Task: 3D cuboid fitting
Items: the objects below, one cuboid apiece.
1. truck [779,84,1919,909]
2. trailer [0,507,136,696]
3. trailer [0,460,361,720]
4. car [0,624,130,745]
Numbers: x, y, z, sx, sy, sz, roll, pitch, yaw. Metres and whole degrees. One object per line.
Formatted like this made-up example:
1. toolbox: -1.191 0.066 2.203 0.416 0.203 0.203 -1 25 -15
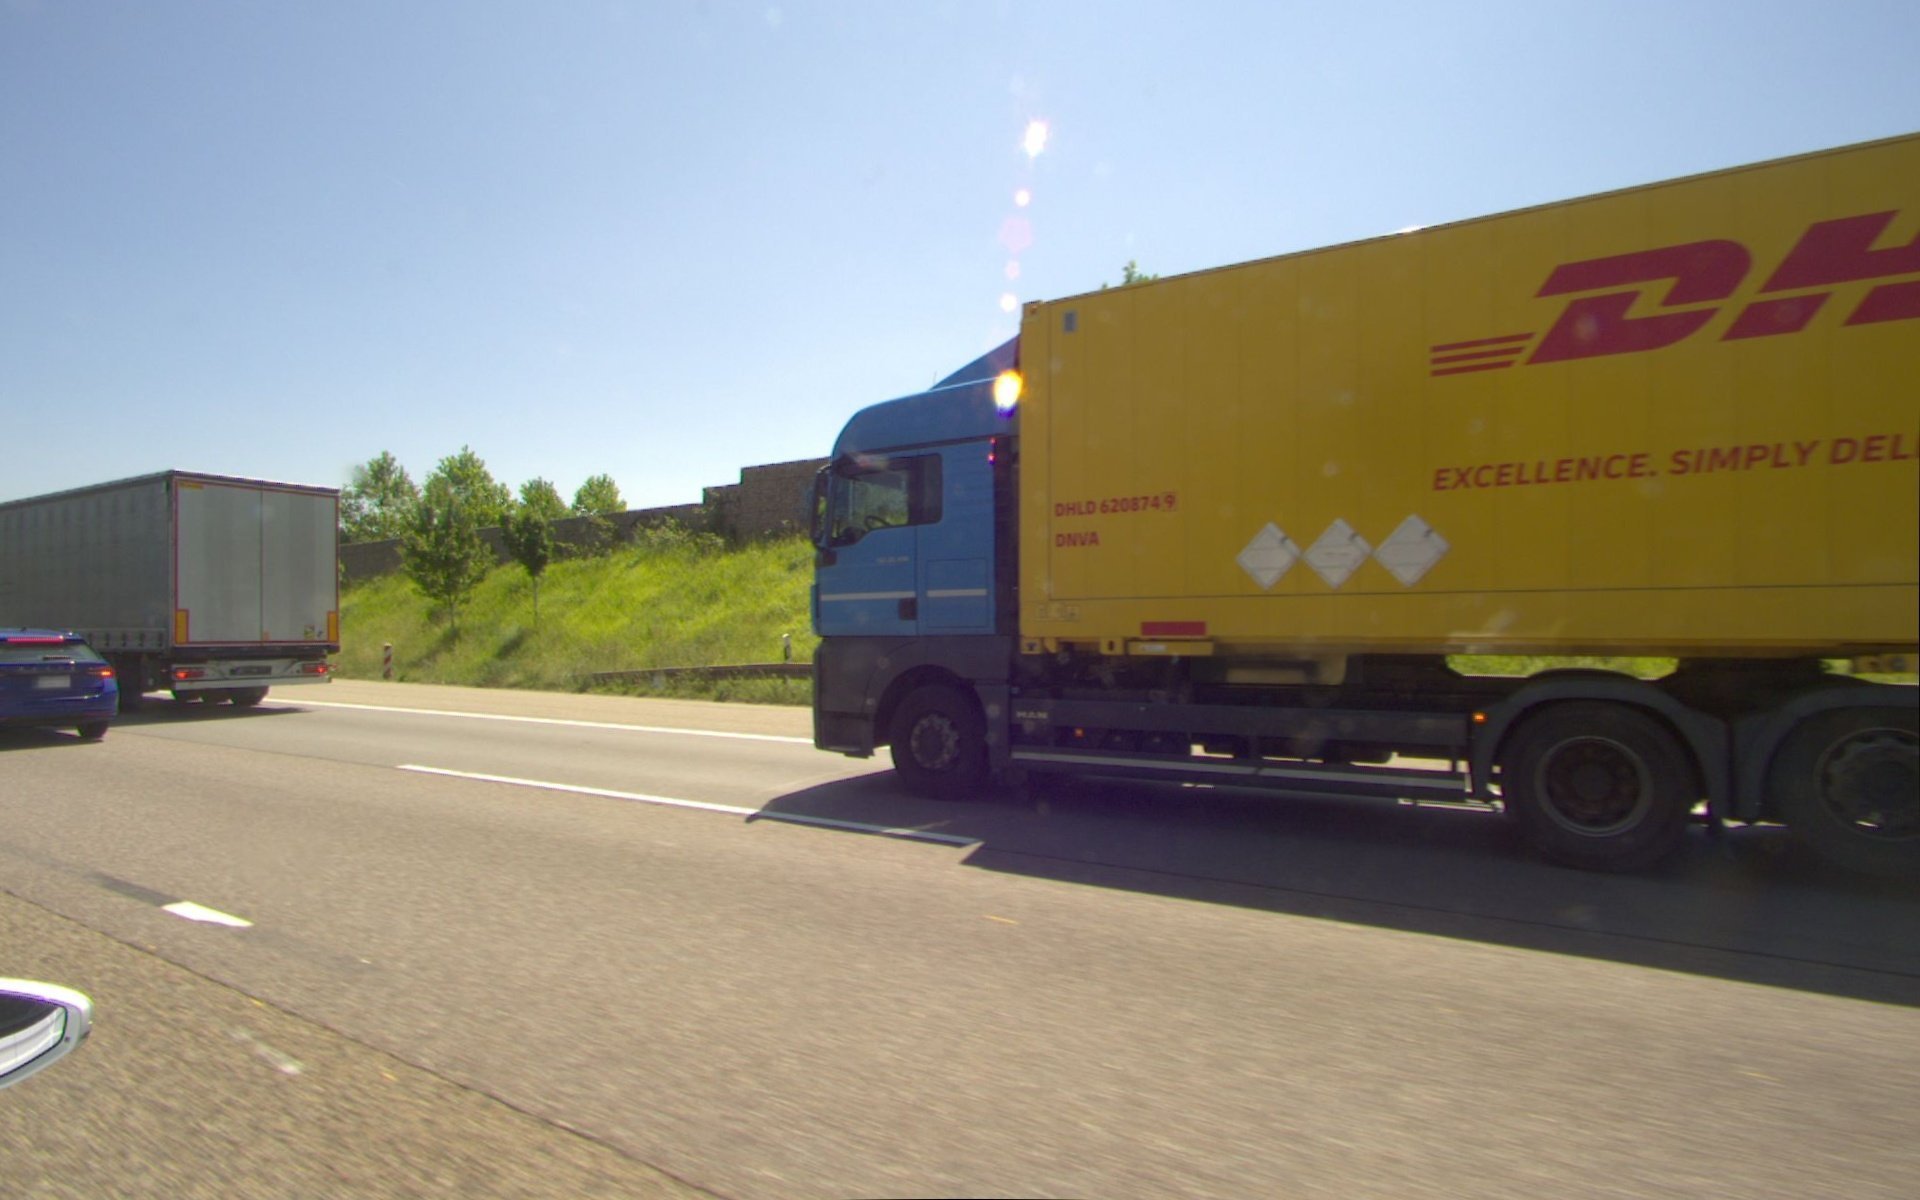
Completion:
1. truck: 3.215 -0.462 7.728 9.810 4.162 2.761 -1 -1 33
2. trailer: -22.992 0.091 24.209 6.319 4.096 2.919 -1 -1 32
3. trailer: -17.482 -0.013 20.730 13.555 4.102 2.957 -1 -1 32
4. car: -13.140 1.090 13.552 4.365 1.459 1.703 -2 -2 33
